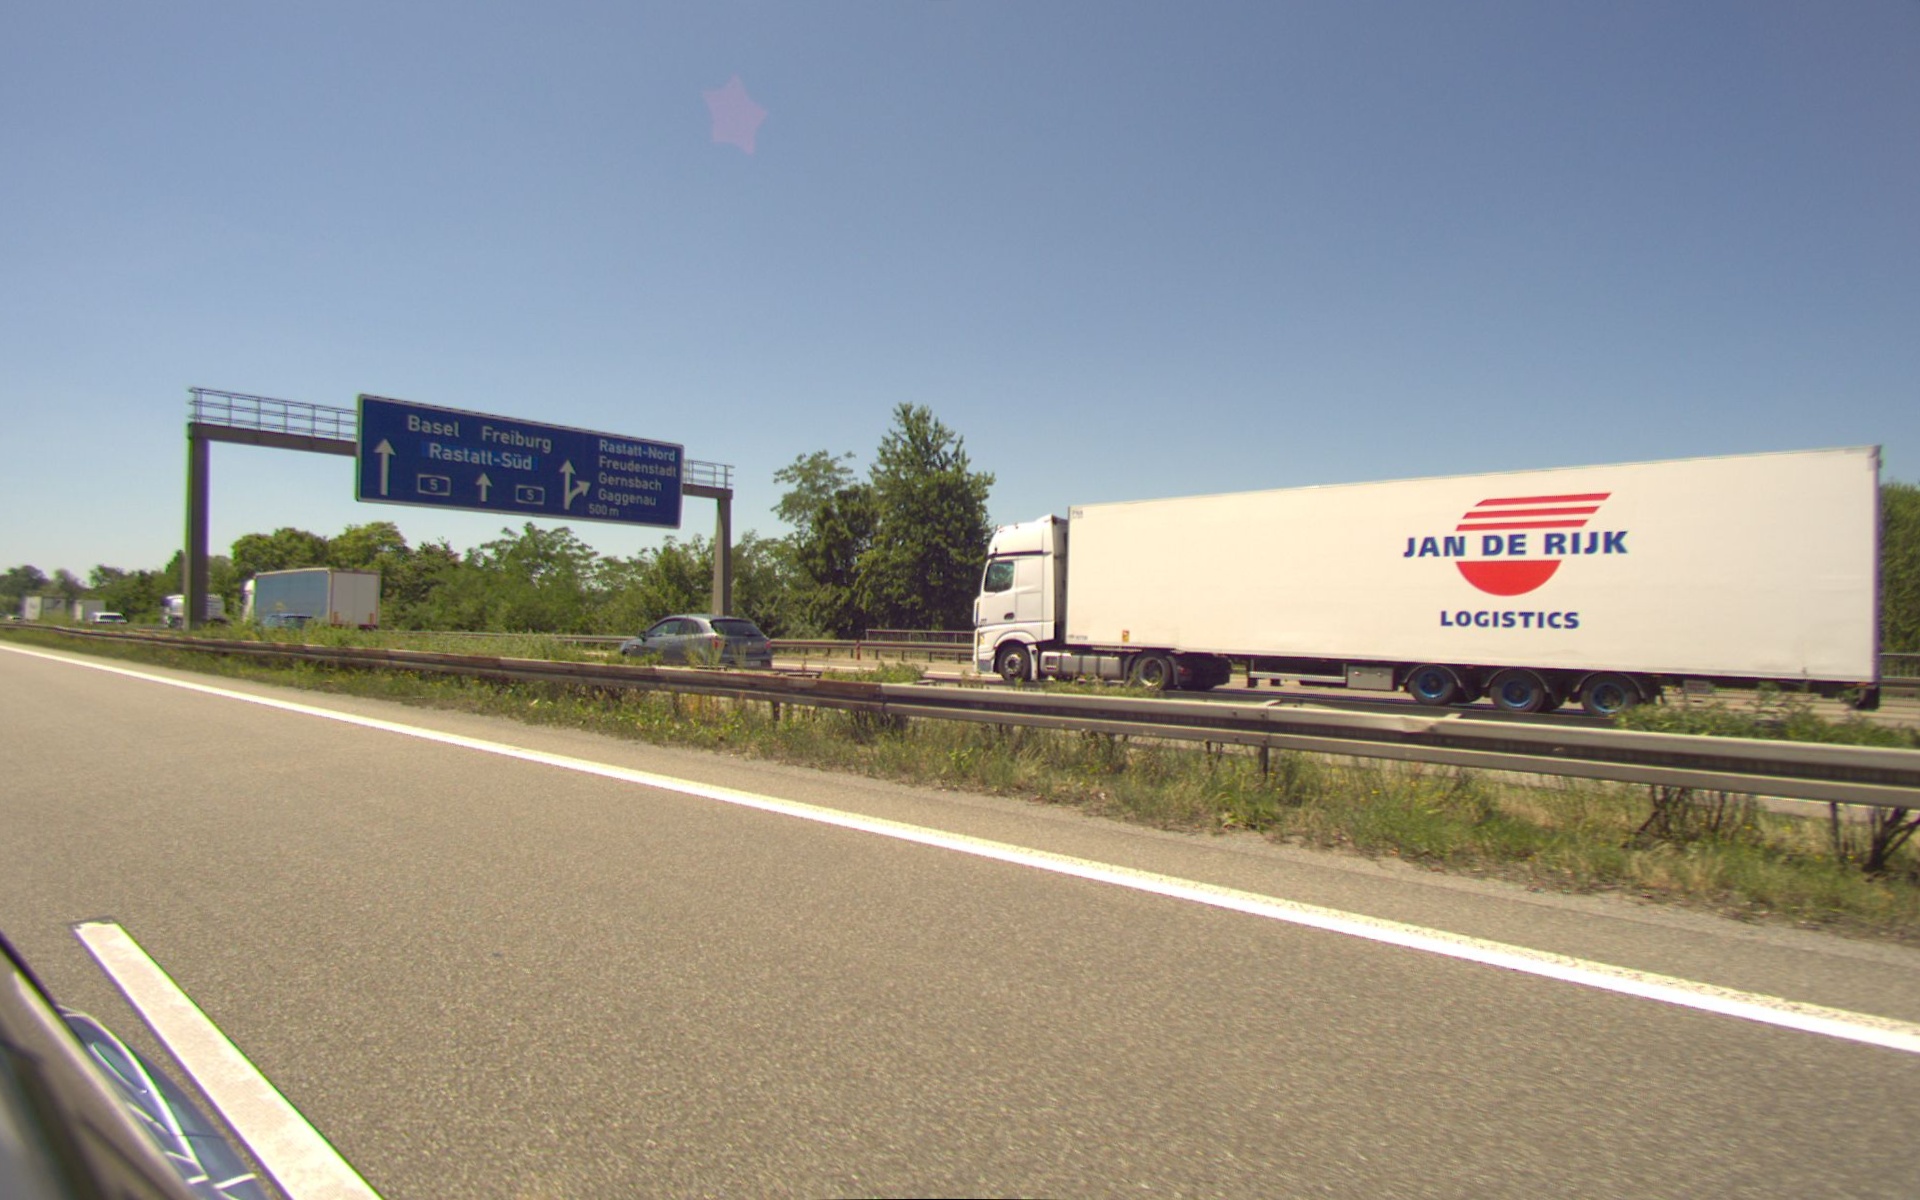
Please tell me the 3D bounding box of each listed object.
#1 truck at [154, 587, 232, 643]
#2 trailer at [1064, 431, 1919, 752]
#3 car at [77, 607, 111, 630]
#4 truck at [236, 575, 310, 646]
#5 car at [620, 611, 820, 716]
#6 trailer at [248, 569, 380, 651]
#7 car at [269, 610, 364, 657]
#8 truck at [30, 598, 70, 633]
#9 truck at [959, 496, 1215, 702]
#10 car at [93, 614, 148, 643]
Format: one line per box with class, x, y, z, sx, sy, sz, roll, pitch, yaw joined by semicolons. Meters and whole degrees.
truck;-60.429;1.152;79.640;8.602;4.166;3.201;-1;0;41
trailer;8.479;-0.067;18.757;13.938;4.238;2.715;-1;0;40
car;-99.955;2.148;116.826;4.517;2.556;2.339;-1;-2;41
truck;-43.610;0.635;64.212;5.053;4.335;2.715;-1;0;41
car;-4.895;1.194;20.395;3.998;1.905;1.973;-1;-2;41
trailer;-38.138;0.565;59.424;13.941;4.339;2.715;-1;0;41
car;-24.144;1.233;37.935;3.998;1.650;1.973;-1;-2;41
truck;-119.581;2.041;132.935;8.237;4.386;2.900;-1;0;41
truck;2.871;-0.006;23.592;5.292;4.238;2.715;-1;0;41
car;-51.293;1.716;61.795;3.998;1.735;1.973;-1;-2;41
